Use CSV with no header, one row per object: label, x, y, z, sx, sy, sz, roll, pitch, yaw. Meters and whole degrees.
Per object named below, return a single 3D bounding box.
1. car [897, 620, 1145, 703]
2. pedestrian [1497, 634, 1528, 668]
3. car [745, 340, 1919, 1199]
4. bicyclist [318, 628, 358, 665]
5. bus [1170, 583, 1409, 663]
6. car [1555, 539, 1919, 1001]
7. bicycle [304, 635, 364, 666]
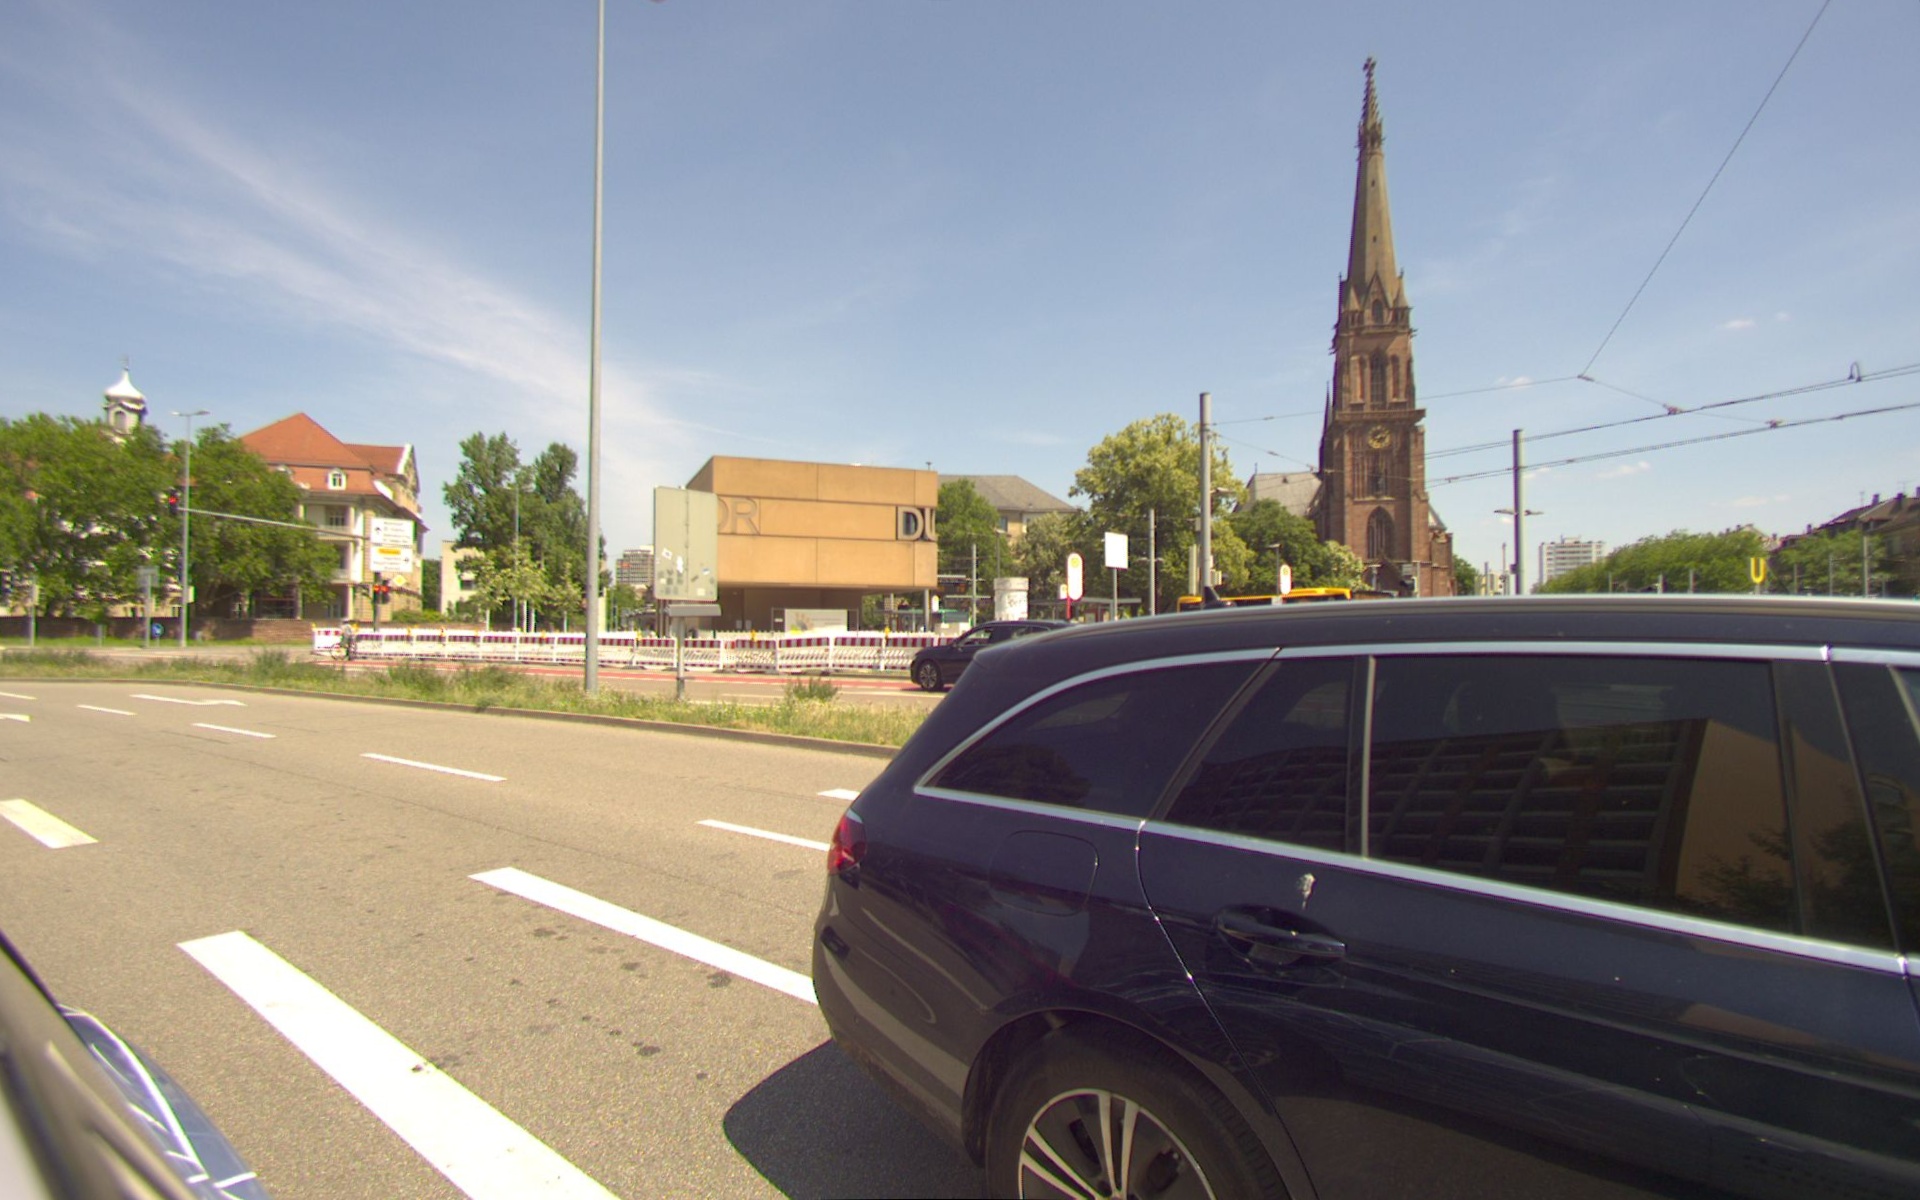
car,1.108,1.169,20.352,4.846,1.476,1.972,-2,-3,43
pedestrian,22.136,2.040,40.573,0.518,1.344,1.001,1,-2,-17
car,1.855,0.540,1.524,4.803,1.653,1.778,-2,-1,42
bicyclist,-23.257,1.723,37.847,1.432,1.366,0.581,-1,0,26
bus,14.048,1.089,45.019,2.807,3.039,12.259,1,-2,-22
car,4.453,0.585,3.616,3.736,1.588,1.725,-2,-3,42
bicycle,-23.375,1.857,37.778,2.220,1.080,0.871,-1,0,26
